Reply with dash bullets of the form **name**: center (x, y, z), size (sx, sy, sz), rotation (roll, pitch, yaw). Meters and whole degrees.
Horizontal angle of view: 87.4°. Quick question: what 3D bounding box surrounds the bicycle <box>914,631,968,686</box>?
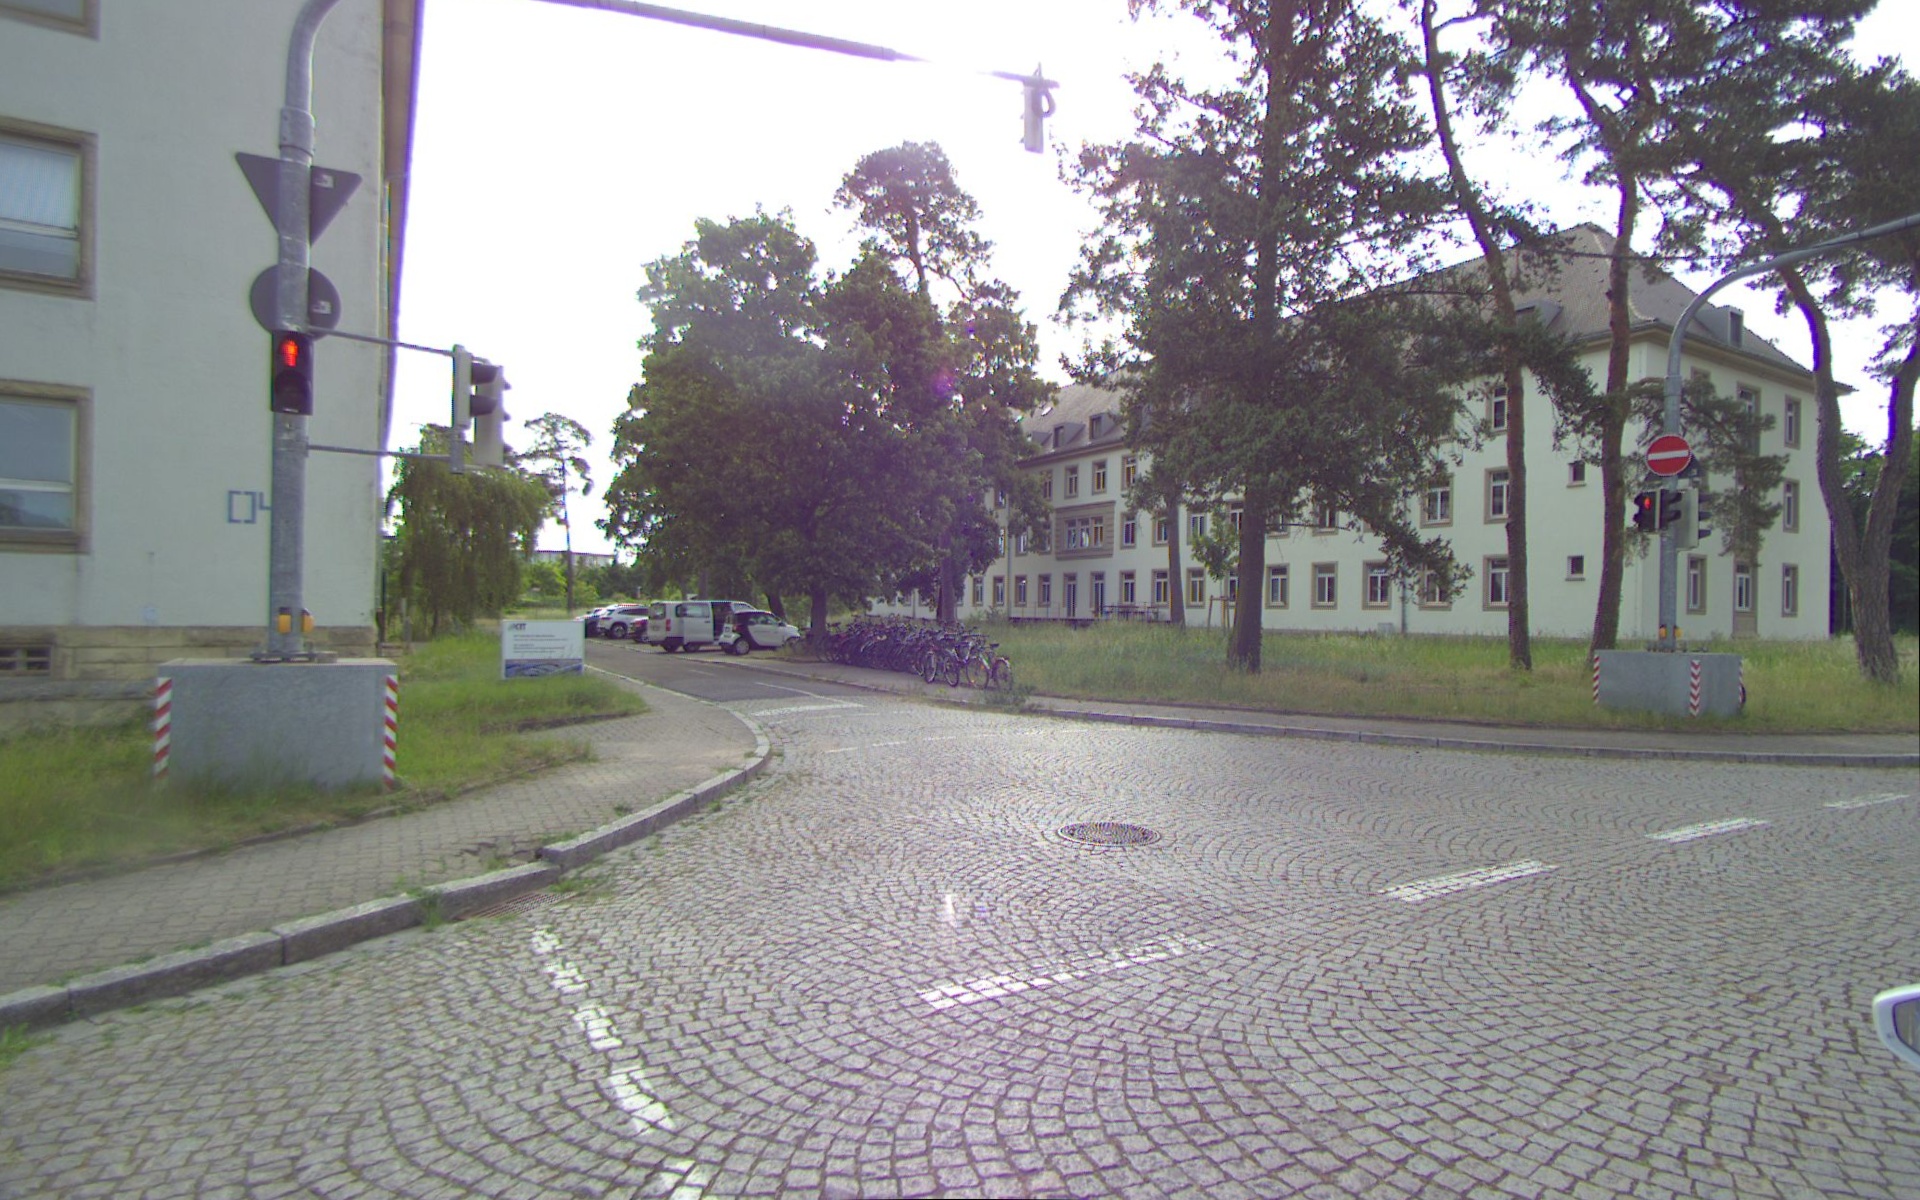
- **bicycle**: center (-0.415, 1.207, 21.034), size (0.492, 1.052, 1.404), rotation (-2, 1, -31)

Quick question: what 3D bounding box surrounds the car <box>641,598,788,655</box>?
- **car**: center (-9.278, 0.949, 38.279), size (5.136, 1.942, 2.009), rotation (-1, 0, -44)

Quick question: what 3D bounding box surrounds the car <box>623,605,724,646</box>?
- **car**: center (-13.097, 1.145, 45.980), size (4.058, 1.743, 1.839), rotation (2, 1, -39)

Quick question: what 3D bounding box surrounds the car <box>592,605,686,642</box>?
- **car**: center (-16.120, 1.172, 50.518), size (4.058, 1.743, 1.839), rotation (2, 1, -39)

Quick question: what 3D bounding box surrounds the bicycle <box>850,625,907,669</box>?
- **bicycle**: center (-2.129, 1.215, 26.326), size (1.443, 1.052, 0.493), rotation (-2, 2, -36)

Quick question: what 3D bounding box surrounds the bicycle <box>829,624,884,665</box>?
- **bicycle**: center (-2.851, 1.212, 27.803), size (1.443, 1.052, 0.493), rotation (-2, 2, -36)

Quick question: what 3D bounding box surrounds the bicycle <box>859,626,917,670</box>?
- **bicycle**: center (-1.846, 1.228, 25.927), size (1.443, 1.052, 0.493), rotation (-2, 2, -36)

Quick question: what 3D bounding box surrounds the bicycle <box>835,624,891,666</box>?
- **bicycle**: center (-2.638, 1.209, 27.320), size (1.443, 1.052, 0.493), rotation (-2, 2, -36)

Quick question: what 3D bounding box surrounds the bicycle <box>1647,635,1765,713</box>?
- **bicycle**: center (11.622, 1.124, 15.674), size (0.492, 1.089, 1.403), rotation (-2, 1, -33)

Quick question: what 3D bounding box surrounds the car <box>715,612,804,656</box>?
- **car**: center (-7.127, 1.182, 35.712), size (2.742, 1.435, 1.578), rotation (-1, 1, -32)

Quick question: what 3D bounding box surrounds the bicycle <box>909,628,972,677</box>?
- **bicycle**: center (-0.453, 1.215, 23.550), size (1.443, 1.052, 0.493), rotation (-2, 2, -36)

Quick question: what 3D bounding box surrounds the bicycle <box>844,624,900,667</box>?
- **bicycle**: center (-2.358, 1.216, 26.921), size (1.443, 1.052, 0.493), rotation (-2, 2, -36)

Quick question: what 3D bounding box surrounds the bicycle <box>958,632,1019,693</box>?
- **bicycle**: center (0.547, 1.212, 19.757), size (0.492, 1.089, 1.404), rotation (-2, 1, -31)

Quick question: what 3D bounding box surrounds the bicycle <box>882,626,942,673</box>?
- **bicycle**: center (-1.180, 1.216, 24.987), size (1.443, 1.052, 0.493), rotation (-2, 2, -36)

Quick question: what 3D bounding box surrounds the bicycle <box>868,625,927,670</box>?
- **bicycle**: center (-1.584, 1.199, 25.543), size (1.443, 1.052, 0.493), rotation (-2, 2, -36)

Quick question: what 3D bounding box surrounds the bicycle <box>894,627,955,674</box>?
- **bicycle**: center (-0.862, 1.224, 24.502), size (1.443, 1.052, 0.493), rotation (-2, 2, -36)

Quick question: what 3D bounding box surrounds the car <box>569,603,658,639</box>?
- **car**: center (-18.254, 1.113, 52.930), size (4.058, 1.790, 1.810), rotation (2, 1, -39)

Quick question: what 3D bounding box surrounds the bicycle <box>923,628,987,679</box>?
- **bicycle**: center (-0.106, 1.198, 22.837), size (1.444, 1.052, 0.492), rotation (-2, 2, -39)

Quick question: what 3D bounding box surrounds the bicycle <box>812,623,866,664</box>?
- **bicycle**: center (-3.437, 1.228, 28.602), size (1.443, 1.052, 0.493), rotation (-2, 2, -36)

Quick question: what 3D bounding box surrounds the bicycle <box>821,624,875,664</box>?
- **bicycle**: center (-3.153, 1.225, 28.224), size (1.443, 1.052, 0.493), rotation (-2, 2, -36)
